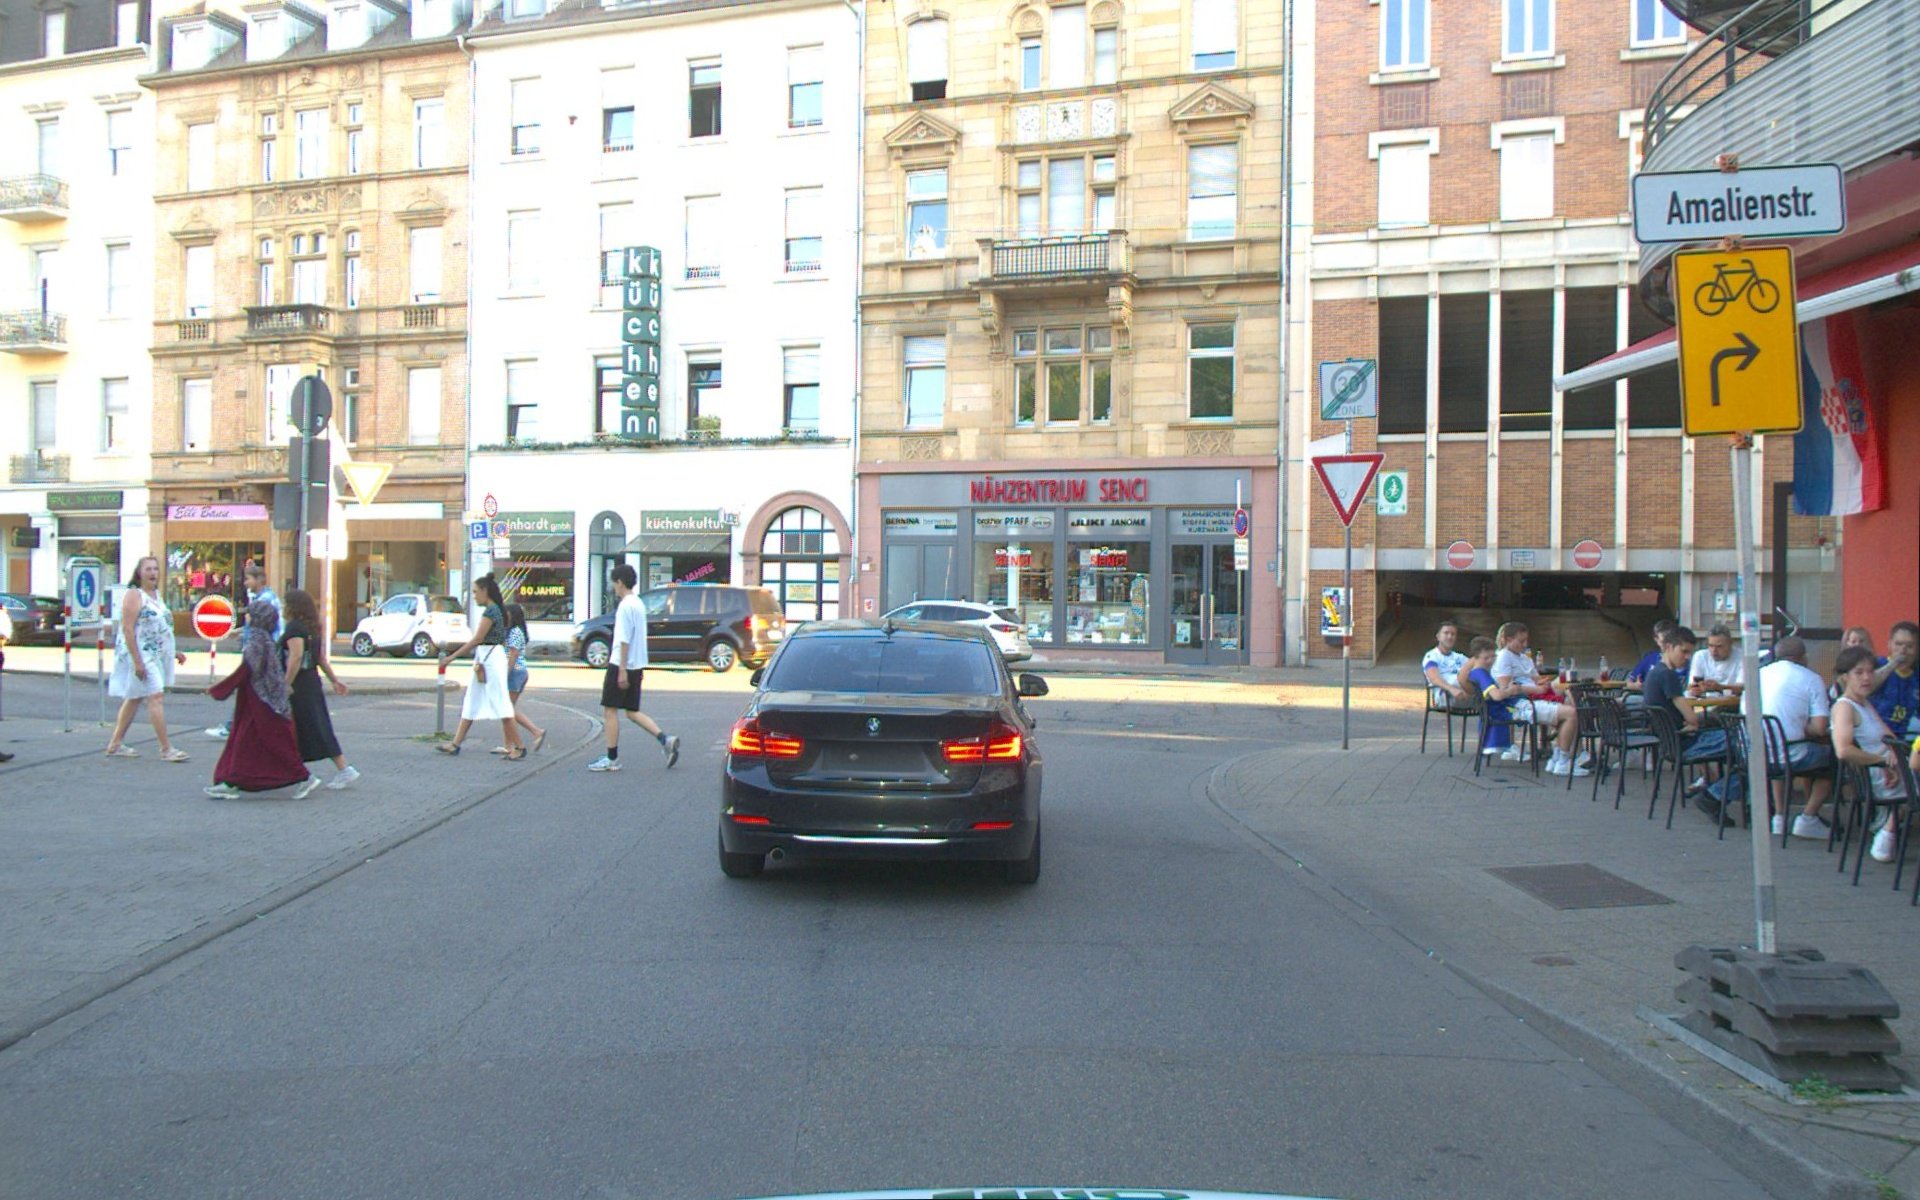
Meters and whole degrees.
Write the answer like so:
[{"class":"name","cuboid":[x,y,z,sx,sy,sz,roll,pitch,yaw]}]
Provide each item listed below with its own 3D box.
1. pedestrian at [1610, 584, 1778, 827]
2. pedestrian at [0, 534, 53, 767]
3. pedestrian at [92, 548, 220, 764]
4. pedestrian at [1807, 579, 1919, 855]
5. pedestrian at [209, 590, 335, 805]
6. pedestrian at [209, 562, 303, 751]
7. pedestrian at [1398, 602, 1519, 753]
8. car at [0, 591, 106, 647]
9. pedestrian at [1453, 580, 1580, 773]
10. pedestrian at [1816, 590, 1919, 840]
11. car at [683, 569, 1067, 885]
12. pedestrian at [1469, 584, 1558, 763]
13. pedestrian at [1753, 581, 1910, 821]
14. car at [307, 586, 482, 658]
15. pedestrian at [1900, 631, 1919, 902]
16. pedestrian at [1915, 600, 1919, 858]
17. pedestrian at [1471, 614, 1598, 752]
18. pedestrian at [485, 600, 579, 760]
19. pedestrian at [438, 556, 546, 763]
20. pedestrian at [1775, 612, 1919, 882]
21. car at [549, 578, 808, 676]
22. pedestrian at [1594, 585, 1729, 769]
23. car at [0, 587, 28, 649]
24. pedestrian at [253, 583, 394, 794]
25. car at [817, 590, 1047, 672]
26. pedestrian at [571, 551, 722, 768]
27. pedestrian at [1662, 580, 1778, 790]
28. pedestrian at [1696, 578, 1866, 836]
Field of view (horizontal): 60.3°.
[{"class":"pedestrian","cuboid":[4.994,0.692,11.290,0.699,1.562,0.758,-3,0,-7]},{"class":"pedestrian","cuboid":[-8.162,0.404,13.701,0.697,1.909,0.853,2,0,10]},{"class":"pedestrian","cuboid":[-7.097,0.482,14.597,0.872,1.834,0.706,2,0,-34]},{"class":"pedestrian","cuboid":[5.618,0.673,9.762,0.834,1.563,0.679,2,0,-7]},{"class":"pedestrian","cuboid":[-5.230,0.721,12.577,0.675,1.569,0.583,2,0,-45]},{"class":"pedestrian","cuboid":[-6.838,0.537,16.058,0.679,1.776,0.708,2,0,-32]},{"class":"pedestrian","cuboid":[4.822,0.732,16.016,0.760,1.406,0.831,0,-1,-29]},{"class":"car","cuboid":[-26.320,0.504,45.879,4.735,1.459,2.000,1,-1,21]},{"class":"pedestrian","cuboid":[4.746,0.634,14.155,0.698,1.562,0.853,-3,0,-2]},{"class":"pedestrian","cuboid":[6.060,0.710,10.561,0.752,1.530,0.782,1,0,-6]},{"class":"car","cuboid":[-0.447,0.655,10.178,1.850,1.518,4.203,1,-1,-1]},{"class":"pedestrian","cuboid":[4.969,0.648,14.881,0.697,1.563,0.690,0,-1,14]},{"class":"pedestrian","cuboid":[5.913,0.666,11.250,0.660,1.563,0.654,-2,0,-6]},{"class":"car","cuboid":[-14.053,0.532,41.135,3.905,1.612,1.705,2,0,21]},{"class":"pedestrian","cuboid":[5.077,0.809,7.866,0.857,1.329,0.853,-1,-1,16]},{"class":"pedestrian","cuboid":[5.767,0.724,9.115,0.652,1.459,0.560,-1,0,-6]},{"class":"pedestrian","cuboid":[5.598,0.798,16.143,0.676,1.304,0.959,1,-2,-28]},{"class":"pedestrian","cuboid":[-4.211,0.775,16.264,0.707,1.512,0.597,2,0,-33]},{"class":"pedestrian","cuboid":[-4.469,0.554,15.794,0.771,1.908,0.707,2,0,-32]},{"class":"pedestrian","cuboid":[4.958,0.764,8.974,0.640,1.368,0.748,-2,0,-6]},{"class":"car","cuboid":[-5.473,0.479,32.378,4.504,1.681,2.099,2,1,15]},{"class":"pedestrian","cuboid":[6.241,0.664,14.731,0.707,1.563,0.841,2,0,-38]},{"class":"car","cuboid":[-26.096,0.383,41.992,4.132,1.544,1.817,2,0,16]},{"class":"pedestrian","cuboid":[-5.087,0.687,13.220,0.793,1.610,0.718,2,0,-45]},{"class":"car","cuboid":[-0.606,0.644,36.091,4.570,1.562,2.000,2,0,19]},{"class":"pedestrian","cuboid":[-2.855,0.522,15.097,0.872,1.885,0.981,2,0,37]},{"class":"pedestrian","cuboid":[5.930,0.645,12.903,0.736,1.563,0.647,2,0,29]},{"class":"pedestrian","cuboid":[5.214,0.655,10.535,0.636,1.554,0.699,-3,0,-7]}]
